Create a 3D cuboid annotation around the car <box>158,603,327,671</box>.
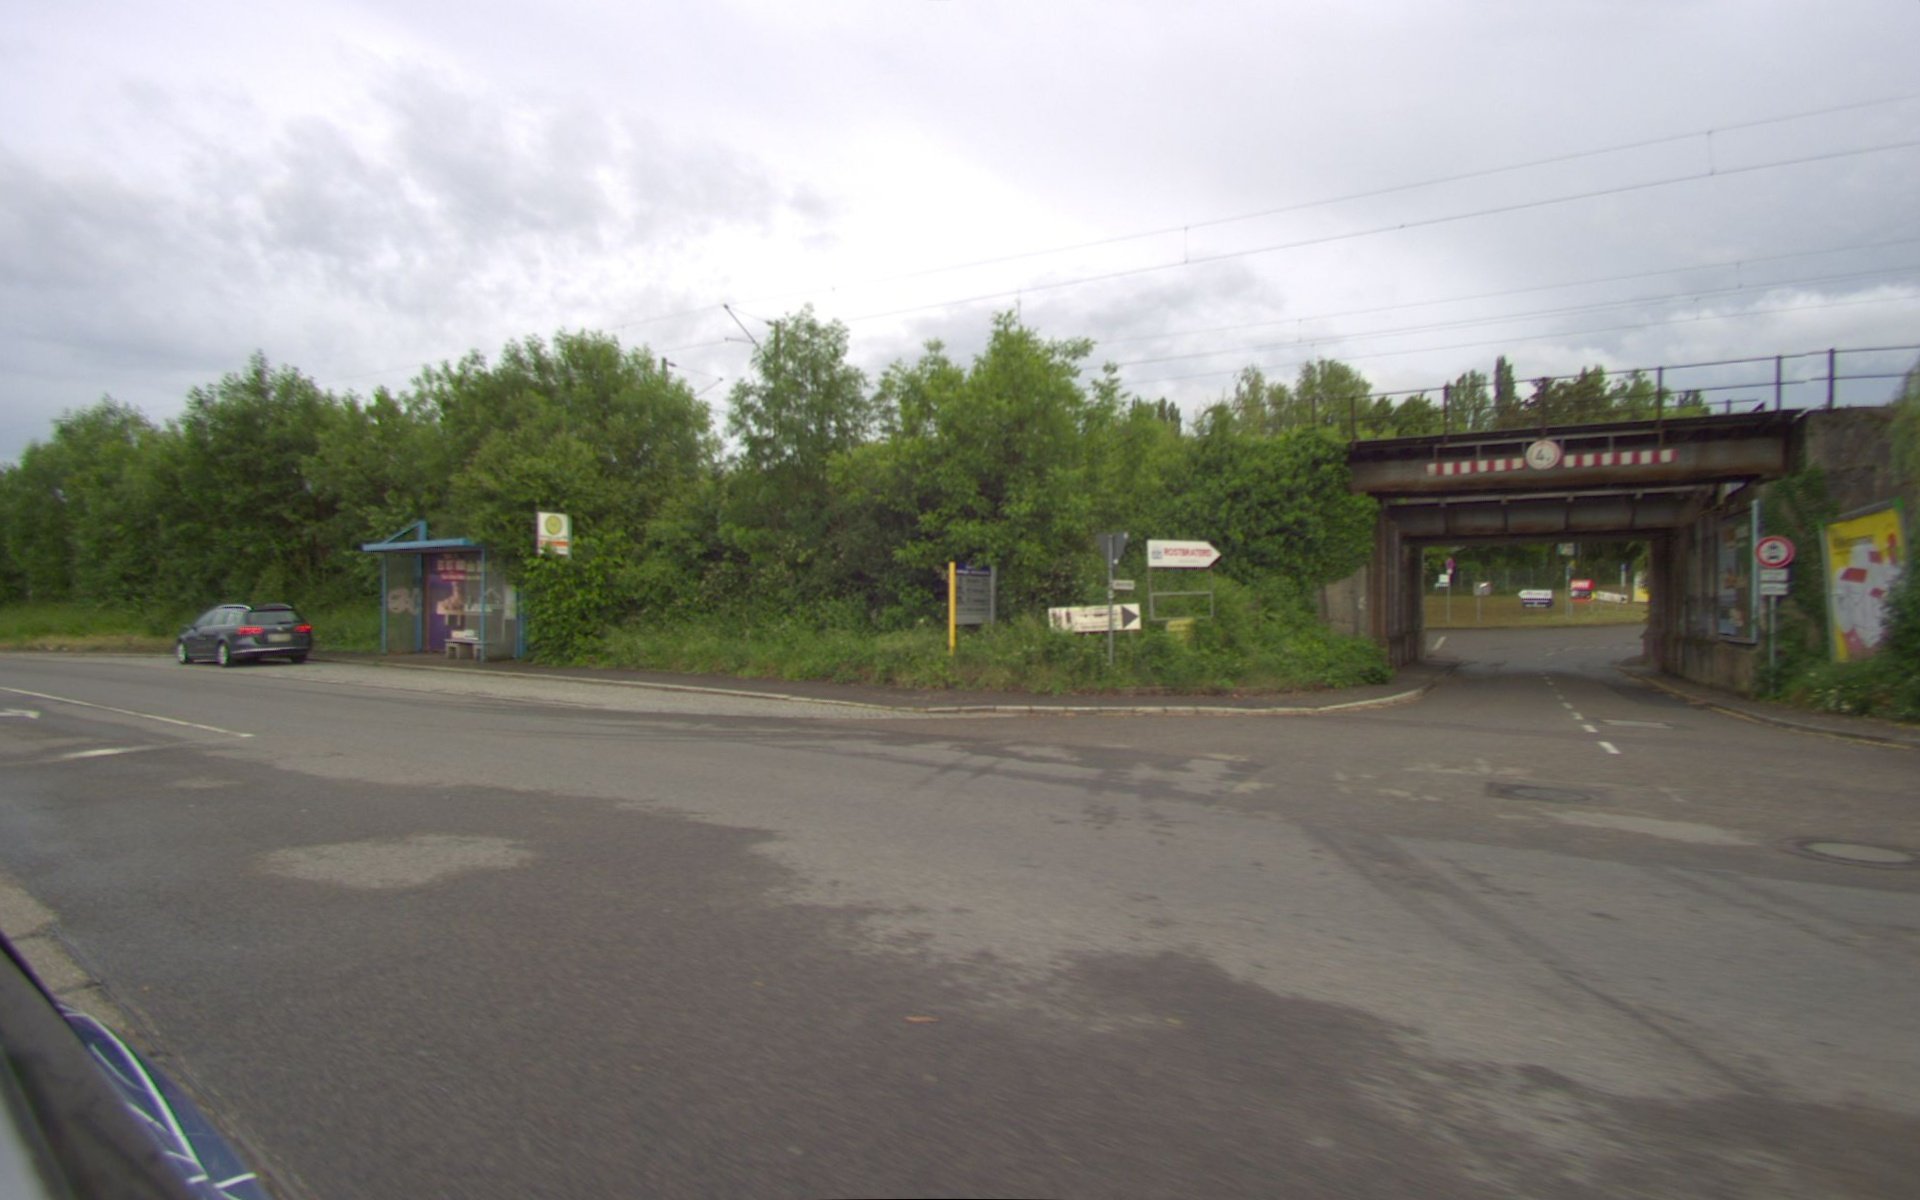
[{"bbox_3d":[-18.188,0.879,25.598,4.689,1.485,1.977,0,2,35],"label":"car"}]
